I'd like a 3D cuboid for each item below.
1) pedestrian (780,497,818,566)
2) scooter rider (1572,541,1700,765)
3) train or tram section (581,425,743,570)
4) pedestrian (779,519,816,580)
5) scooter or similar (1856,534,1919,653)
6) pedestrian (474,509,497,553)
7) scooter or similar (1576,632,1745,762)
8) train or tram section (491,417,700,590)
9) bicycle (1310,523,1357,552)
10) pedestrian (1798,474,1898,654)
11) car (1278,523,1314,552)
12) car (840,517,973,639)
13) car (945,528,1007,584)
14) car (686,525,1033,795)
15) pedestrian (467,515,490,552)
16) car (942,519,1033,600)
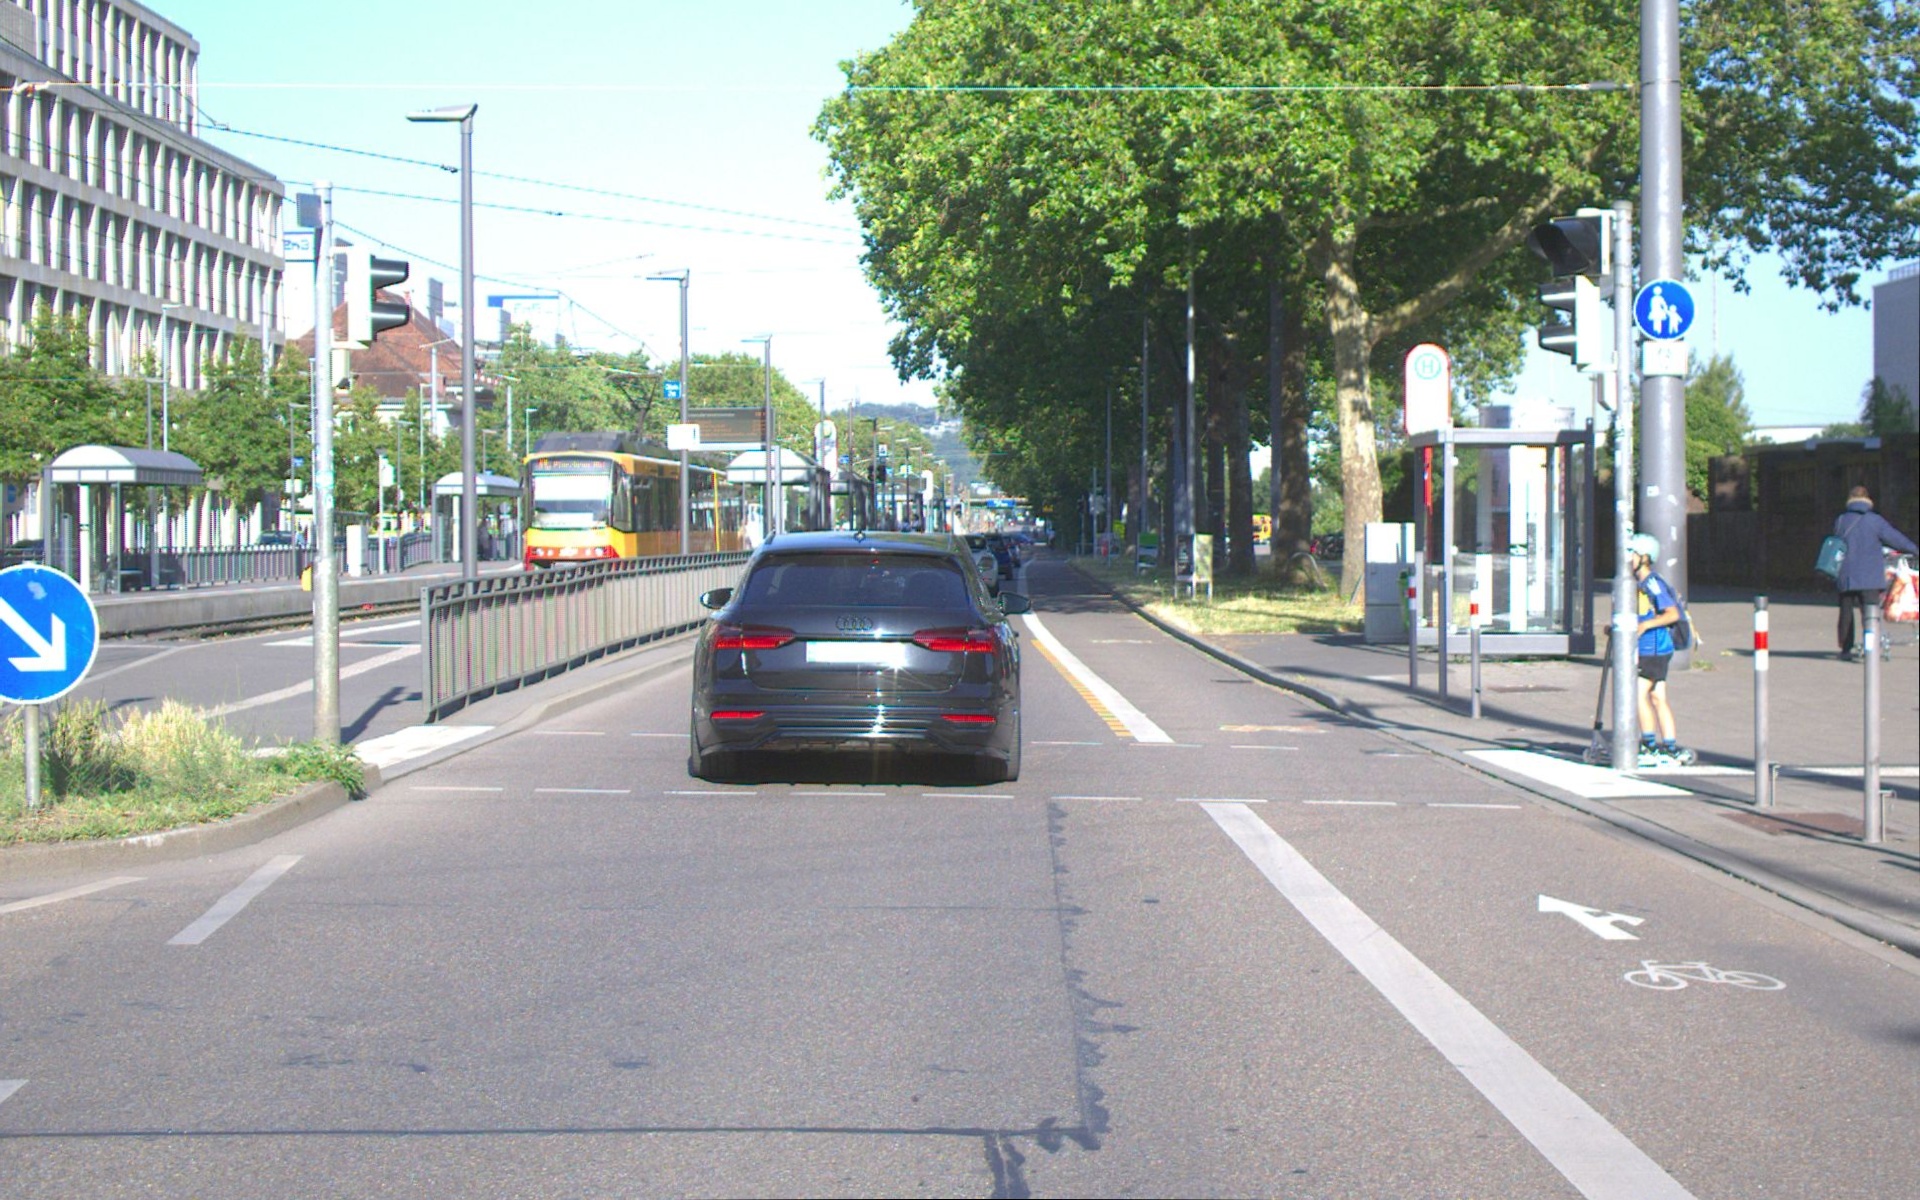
[{"bbox_3d":[-3.543,-1.503,75.754,0.746,1.503,0.666,-1,1,4],"label":"pedestrian"},{"bbox_3d":[4.262,0.324,21.697,0.701,1.392,0.600,0,1,1],"label":"scooter rider"},{"bbox_3d":[-8.194,-2.817,96.276,3.309,3.816,11.844,0,1,1],"label":"train or tram section"},{"bbox_3d":[-3.419,-1.063,72.434,0.742,1.269,0.525,0,1,1],"label":"pedestrian"},{"bbox_3d":[9.410,-0.073,34.188,0.718,1.152,0.760,-2,1,-5],"label":"scooter or similar"},{"bbox_3d":[-16.537,-2.416,119.893,0.614,1.522,0.724,0,1,10],"label":"pedestrian"},{"bbox_3d":[4.438,0.610,21.796,1.021,0.808,0.265,0,1,1],"label":"scooter or similar"},{"bbox_3d":[-8.585,-2.277,83.056,3.309,3.816,14.219,0,1,1],"label":"train or tram section"},{"bbox_3d":[14.874,-2.475,136.913,1.773,1.116,0.439,-1,1,1],"label":"bicycle"},{"bbox_3d":[8.801,-0.362,34.063,0.770,1.738,0.795,-1,1,26],"label":"pedestrian"},{"bbox_3d":[17.620,-3.284,180.266,1.614,1.510,3.803,0,1,2],"label":"car"},{"bbox_3d":[-0.743,-0.341,47.780,1.762,1.613,4.000,0,1,-1],"label":"car"},{"bbox_3d":[0.463,-1.329,101.857,1.762,1.613,4.000,0,1,-1],"label":"car"},{"bbox_3d":[-0.577,0.288,20.374,1.878,1.452,3.357,0,1,-1],"label":"car"},{"bbox_3d":[-16.441,-2.266,117.432,0.614,1.255,0.724,0,1,5],"label":"pedestrian"},{"bbox_3d":[0.539,-0.857,70.503,1.762,1.613,4.000,0,1,-1],"label":"car"}]
